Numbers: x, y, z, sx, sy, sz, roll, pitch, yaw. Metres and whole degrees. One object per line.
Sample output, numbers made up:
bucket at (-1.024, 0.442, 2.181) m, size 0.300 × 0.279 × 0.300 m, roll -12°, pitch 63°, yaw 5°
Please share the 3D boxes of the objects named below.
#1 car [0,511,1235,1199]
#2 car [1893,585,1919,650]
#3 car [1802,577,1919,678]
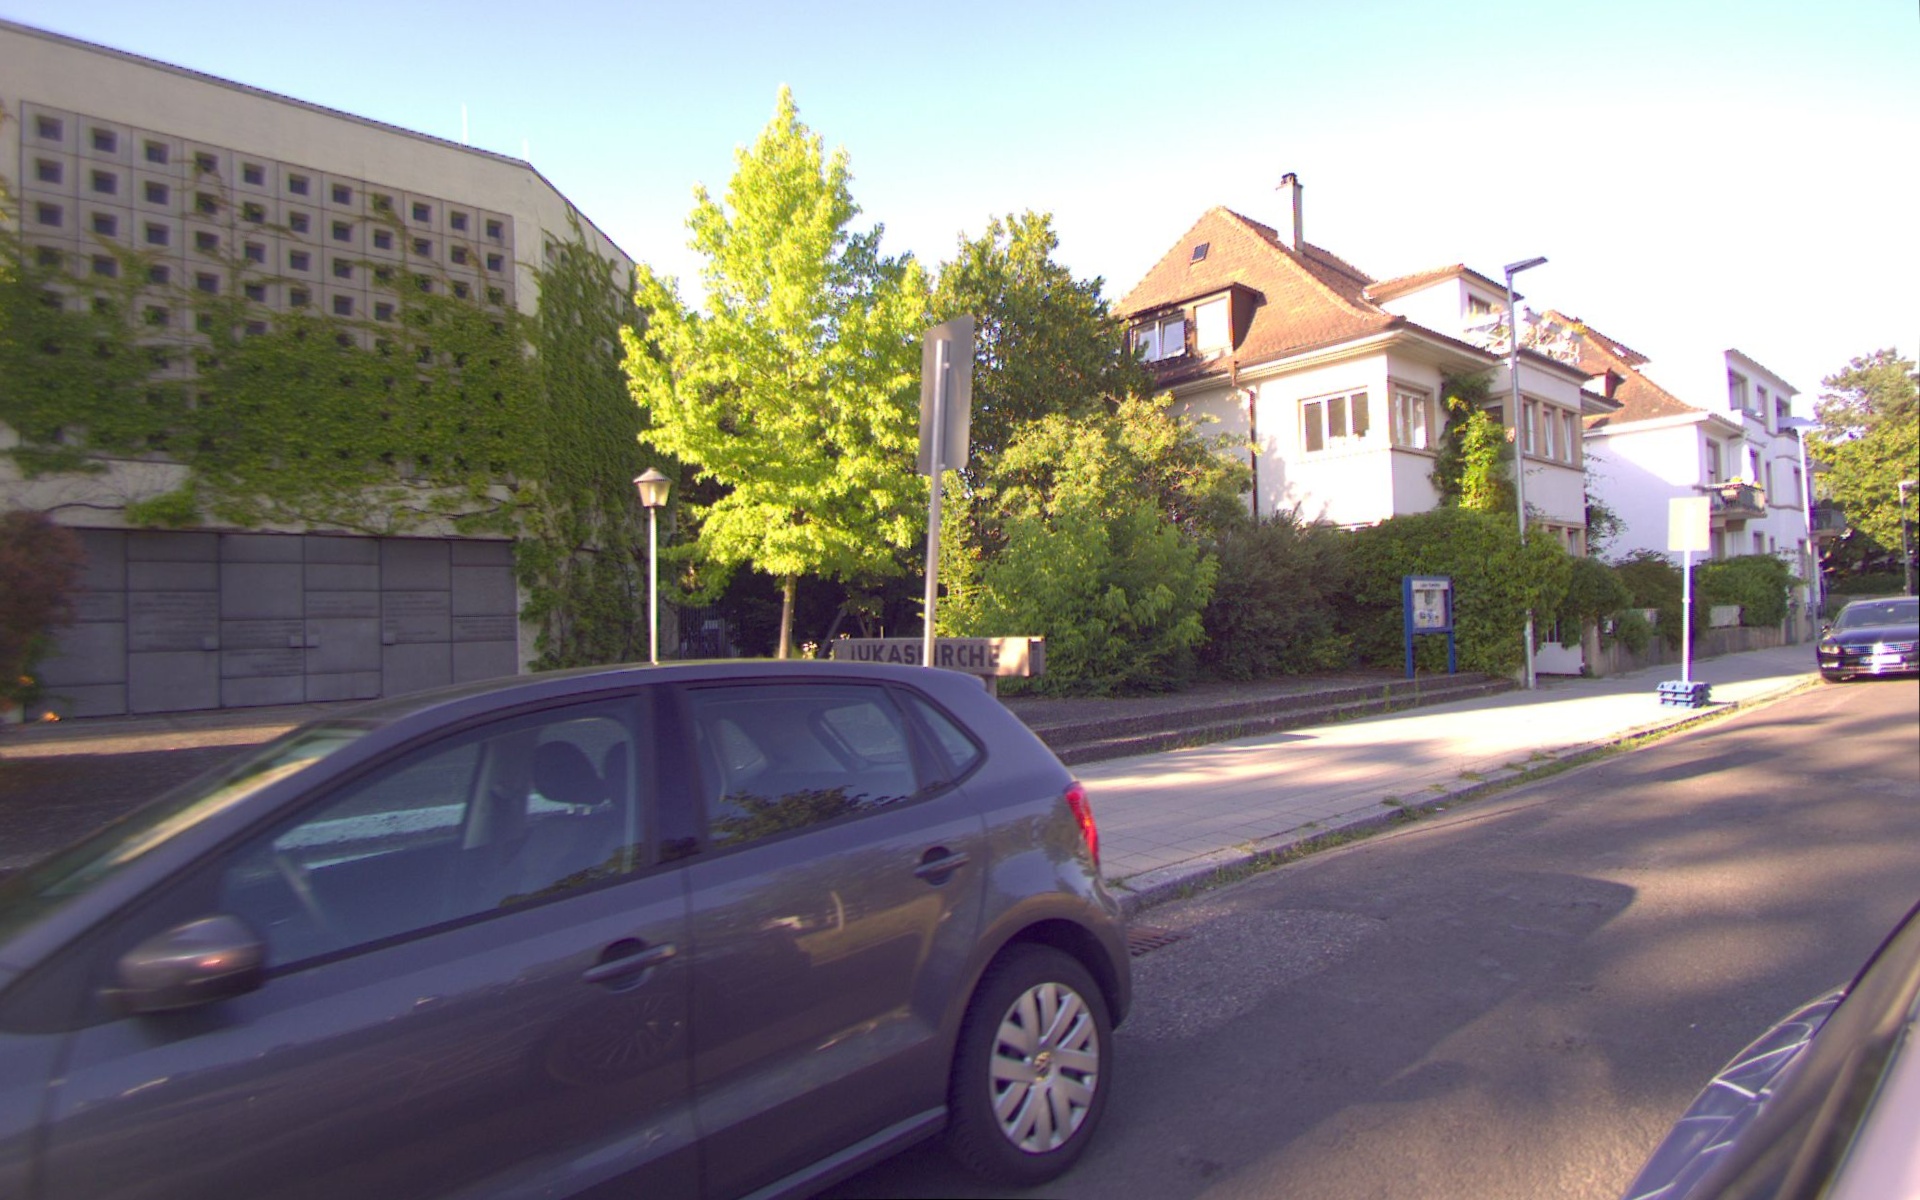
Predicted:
car at (-1.301, 0.729, 2.471) m, size 4.101 × 1.548 × 1.689 m, roll 0°, pitch -6°, yaw -40°
car at (25.811, 0.329, 26.074) m, size 4.383 × 1.556 × 1.886 m, roll -2°, pitch -4°, yaw -39°
car at (17.680, 0.428, 19.055) m, size 4.803 × 1.618 × 1.995 m, roll -2°, pitch -5°, yaw -42°
